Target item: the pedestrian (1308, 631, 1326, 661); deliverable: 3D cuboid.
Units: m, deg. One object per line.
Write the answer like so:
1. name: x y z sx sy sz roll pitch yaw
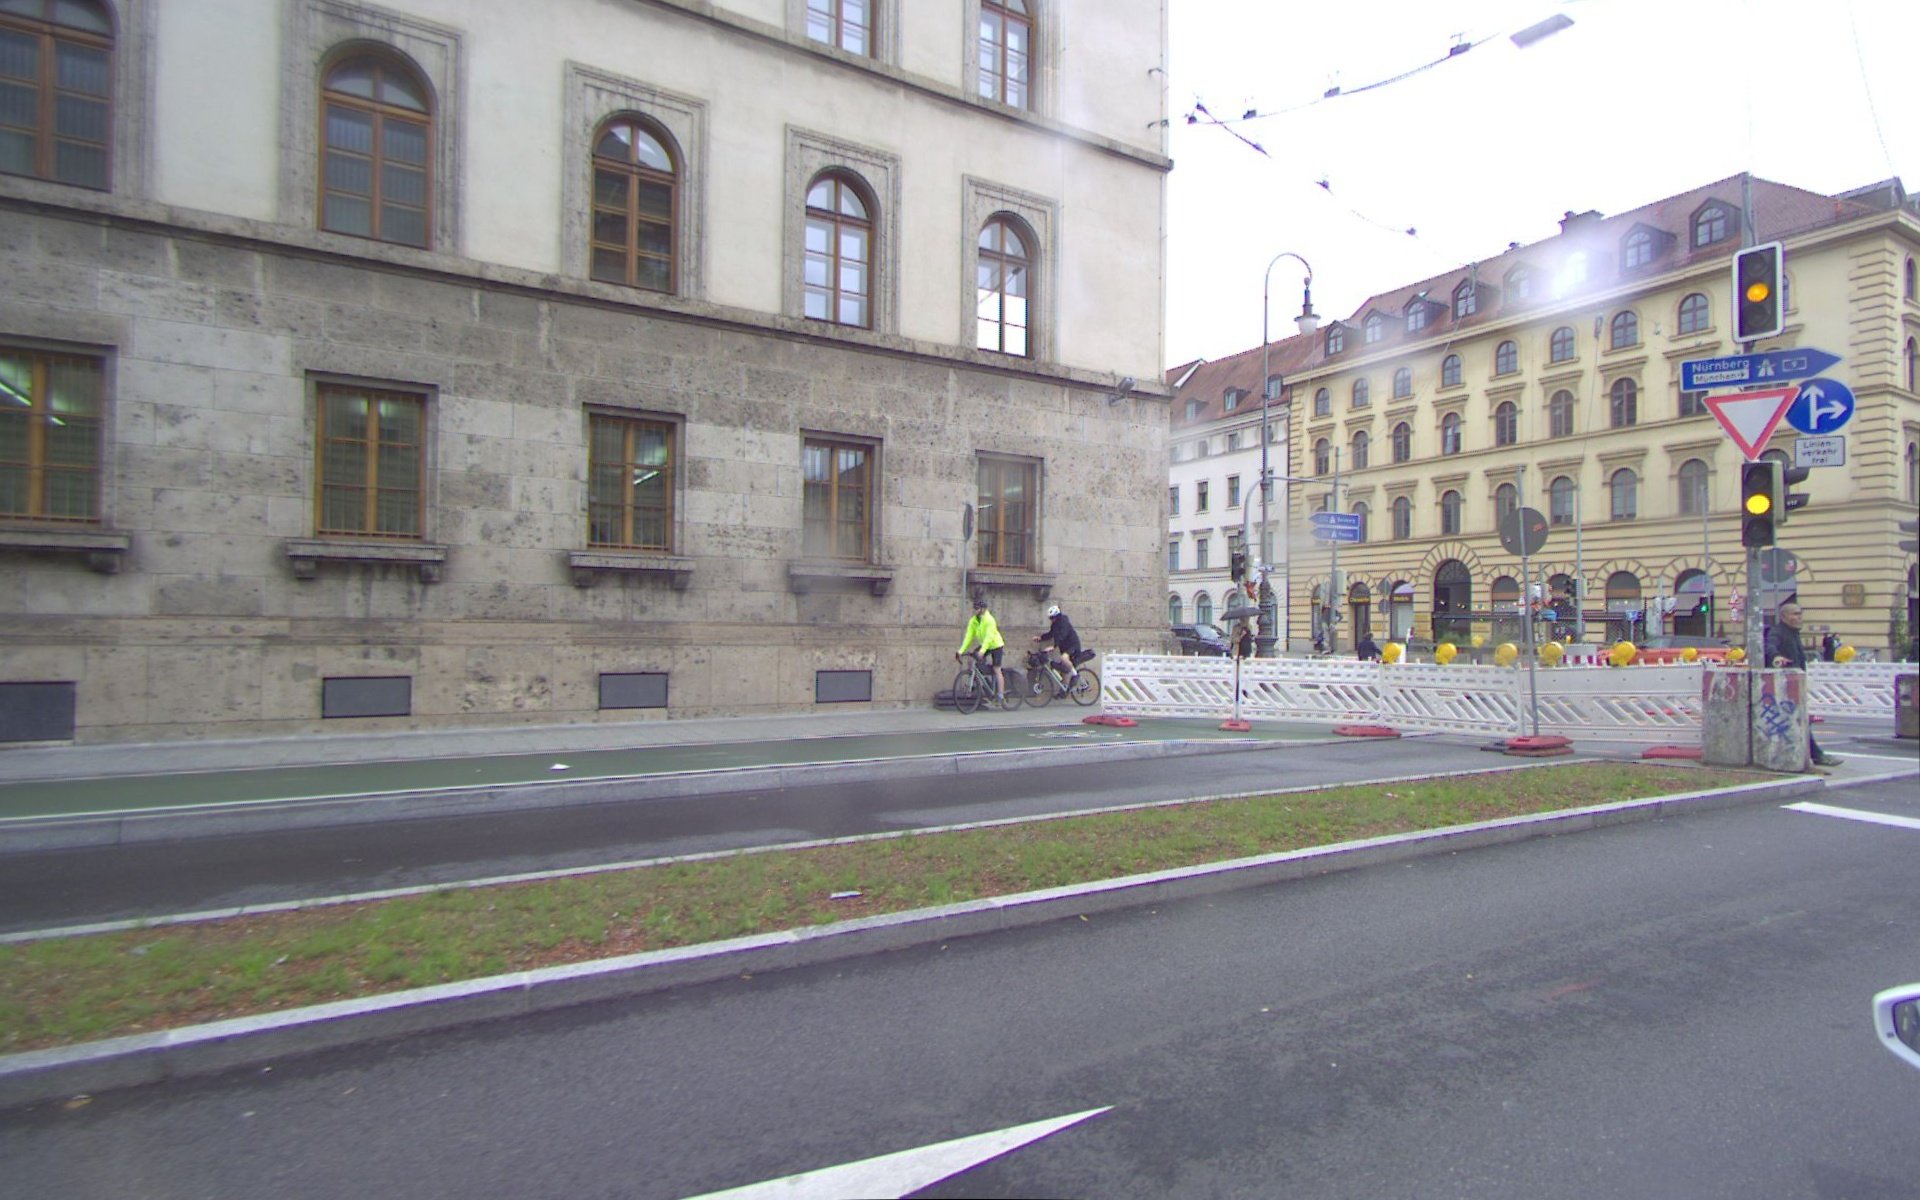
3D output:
1. pedestrian: 22.122 2.832 62.191 0.730 1.795 0.730 1 -1 -30

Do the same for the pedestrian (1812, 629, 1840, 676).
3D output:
1. pedestrian: 34.157 2.071 39.610 0.733 1.795 0.727 1 0 -41

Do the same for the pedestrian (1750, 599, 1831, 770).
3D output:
1. pedestrian: 8.993 0.883 10.869 1.035 1.766 0.508 1 -1 -40

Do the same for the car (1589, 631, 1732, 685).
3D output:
1. car: 24.229 1.951 34.788 3.940 1.742 1.815 -1 -2 40

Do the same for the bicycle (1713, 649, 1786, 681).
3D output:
1. bicycle: 30.231 2.479 38.513 2.163 1.113 0.598 -1 -2 36

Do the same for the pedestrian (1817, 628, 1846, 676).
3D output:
1. pedestrian: 33.757 2.004 38.917 0.733 1.795 0.727 1 0 -40

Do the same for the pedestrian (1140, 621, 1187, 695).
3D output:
1. pedestrian: 4.766 1.359 23.550 0.730 1.676 0.721 4 -3 -27

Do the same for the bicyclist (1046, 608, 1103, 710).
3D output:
1. bicyclist: 2.063 1.043 18.167 0.680 1.799 0.795 1 0 -26

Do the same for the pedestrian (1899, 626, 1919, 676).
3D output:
1. pedestrian: 35.161 1.881 36.837 0.747 1.795 0.735 1 0 -9

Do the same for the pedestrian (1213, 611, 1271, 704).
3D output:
1. pedestrian: 5.599 1.131 19.981 0.729 1.795 0.842 1 0 -23

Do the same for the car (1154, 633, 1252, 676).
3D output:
1. car: 10.476 2.322 43.500 1.976 1.706 3.969 1 -2 -30

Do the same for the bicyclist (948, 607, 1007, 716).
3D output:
1. bicyclist: 0.294 1.011 16.843 0.680 1.772 0.795 1 0 -26

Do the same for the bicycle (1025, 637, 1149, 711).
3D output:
1. bicycle: 2.319 1.317 18.299 2.170 1.259 0.784 1 0 -26

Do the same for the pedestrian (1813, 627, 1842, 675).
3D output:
1. pedestrian: 33.193 1.953 38.436 0.733 1.795 0.727 1 0 -40

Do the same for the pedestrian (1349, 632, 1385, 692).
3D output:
1. pedestrian: 12.540 1.885 30.962 0.727 1.795 0.734 1 0 -28

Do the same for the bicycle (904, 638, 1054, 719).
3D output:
1. bicycle: 0.335 1.281 16.867 2.416 1.259 0.784 1 0 -26
